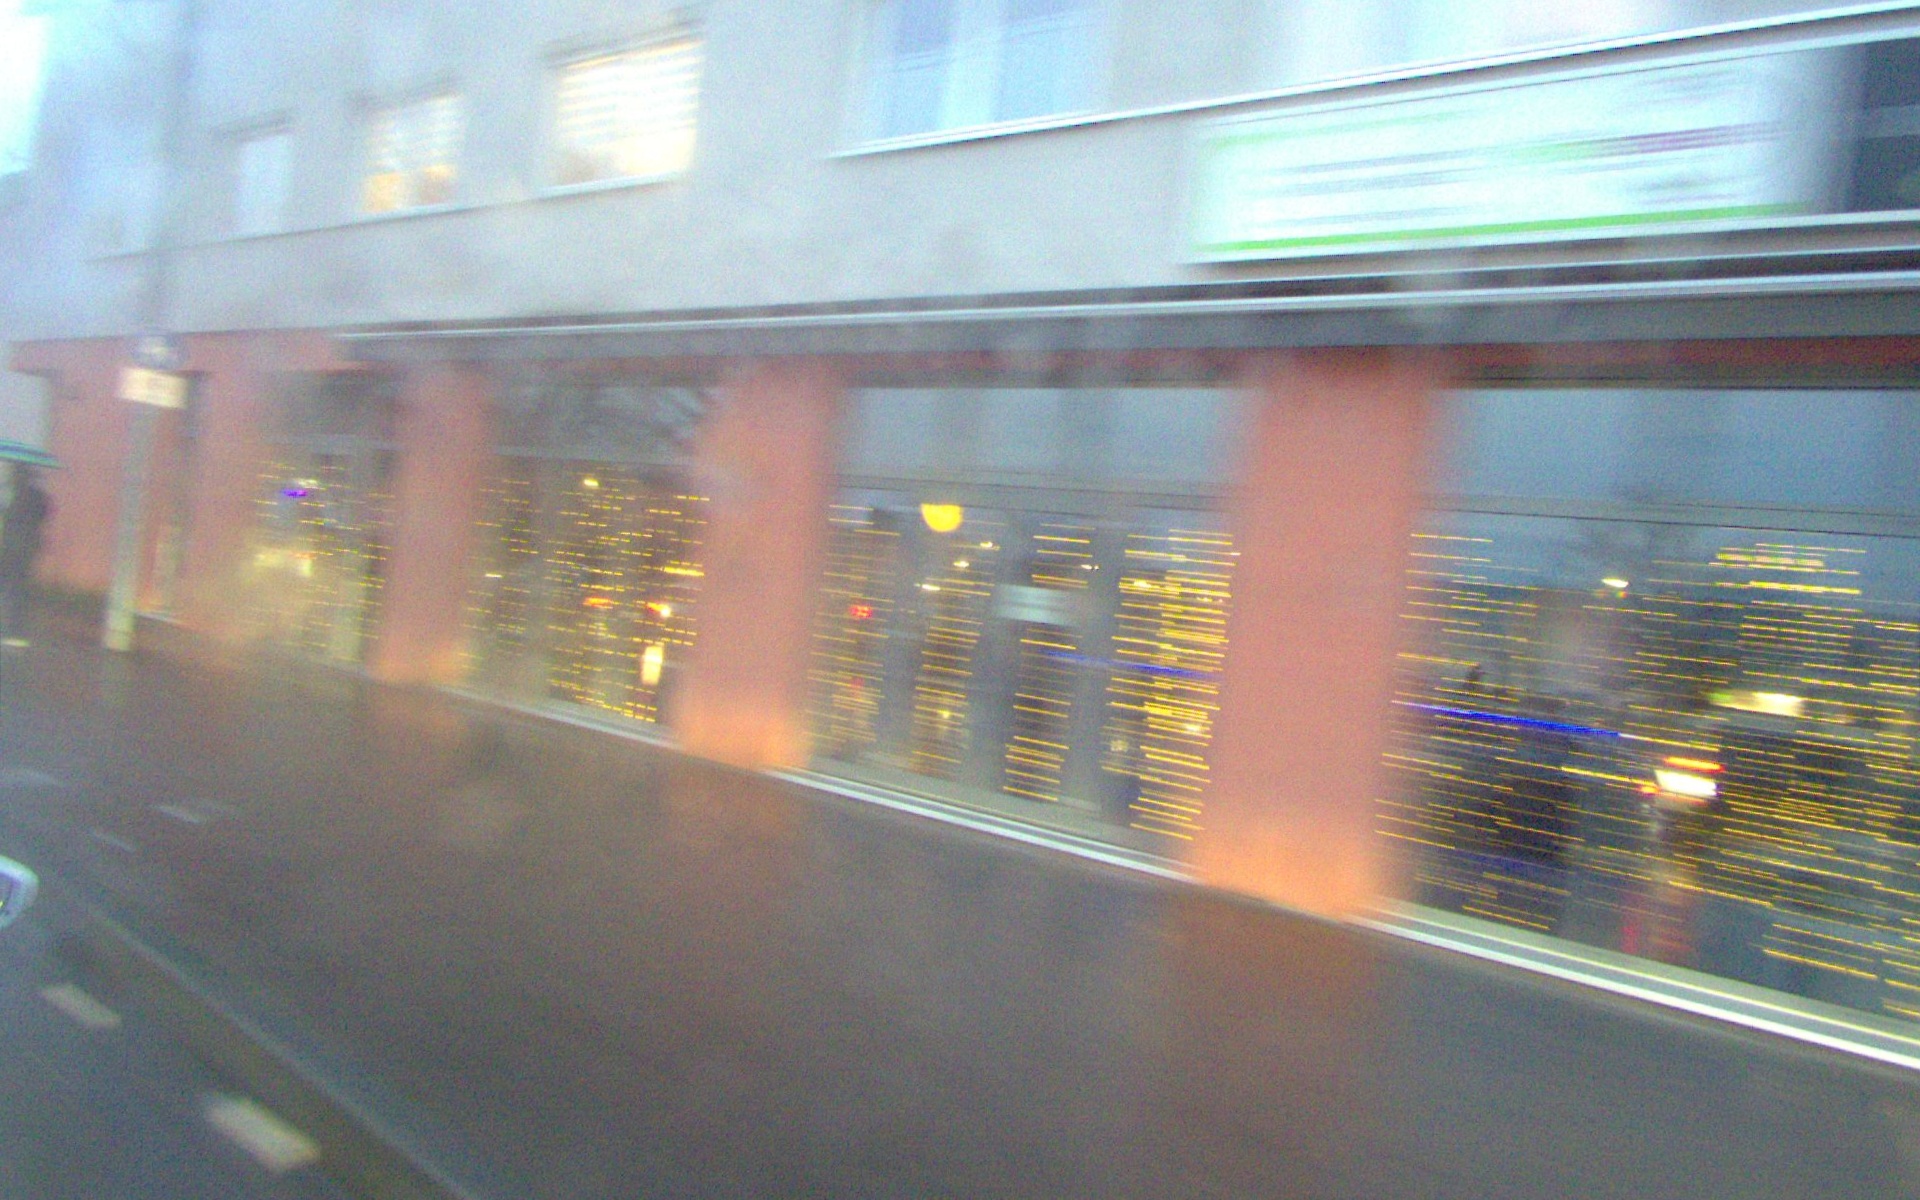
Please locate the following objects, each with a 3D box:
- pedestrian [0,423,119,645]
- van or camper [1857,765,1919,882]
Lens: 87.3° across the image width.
[{"bbox_3d":[-8.723,-0.620,9.086,1.281,1.890,1.256,7,1,30],"label":"pedestrian"},{"bbox_3d":[20.898,4.768,18.741,2.409,2.357,9.203,10,-2,18],"label":"van or camper"}]
